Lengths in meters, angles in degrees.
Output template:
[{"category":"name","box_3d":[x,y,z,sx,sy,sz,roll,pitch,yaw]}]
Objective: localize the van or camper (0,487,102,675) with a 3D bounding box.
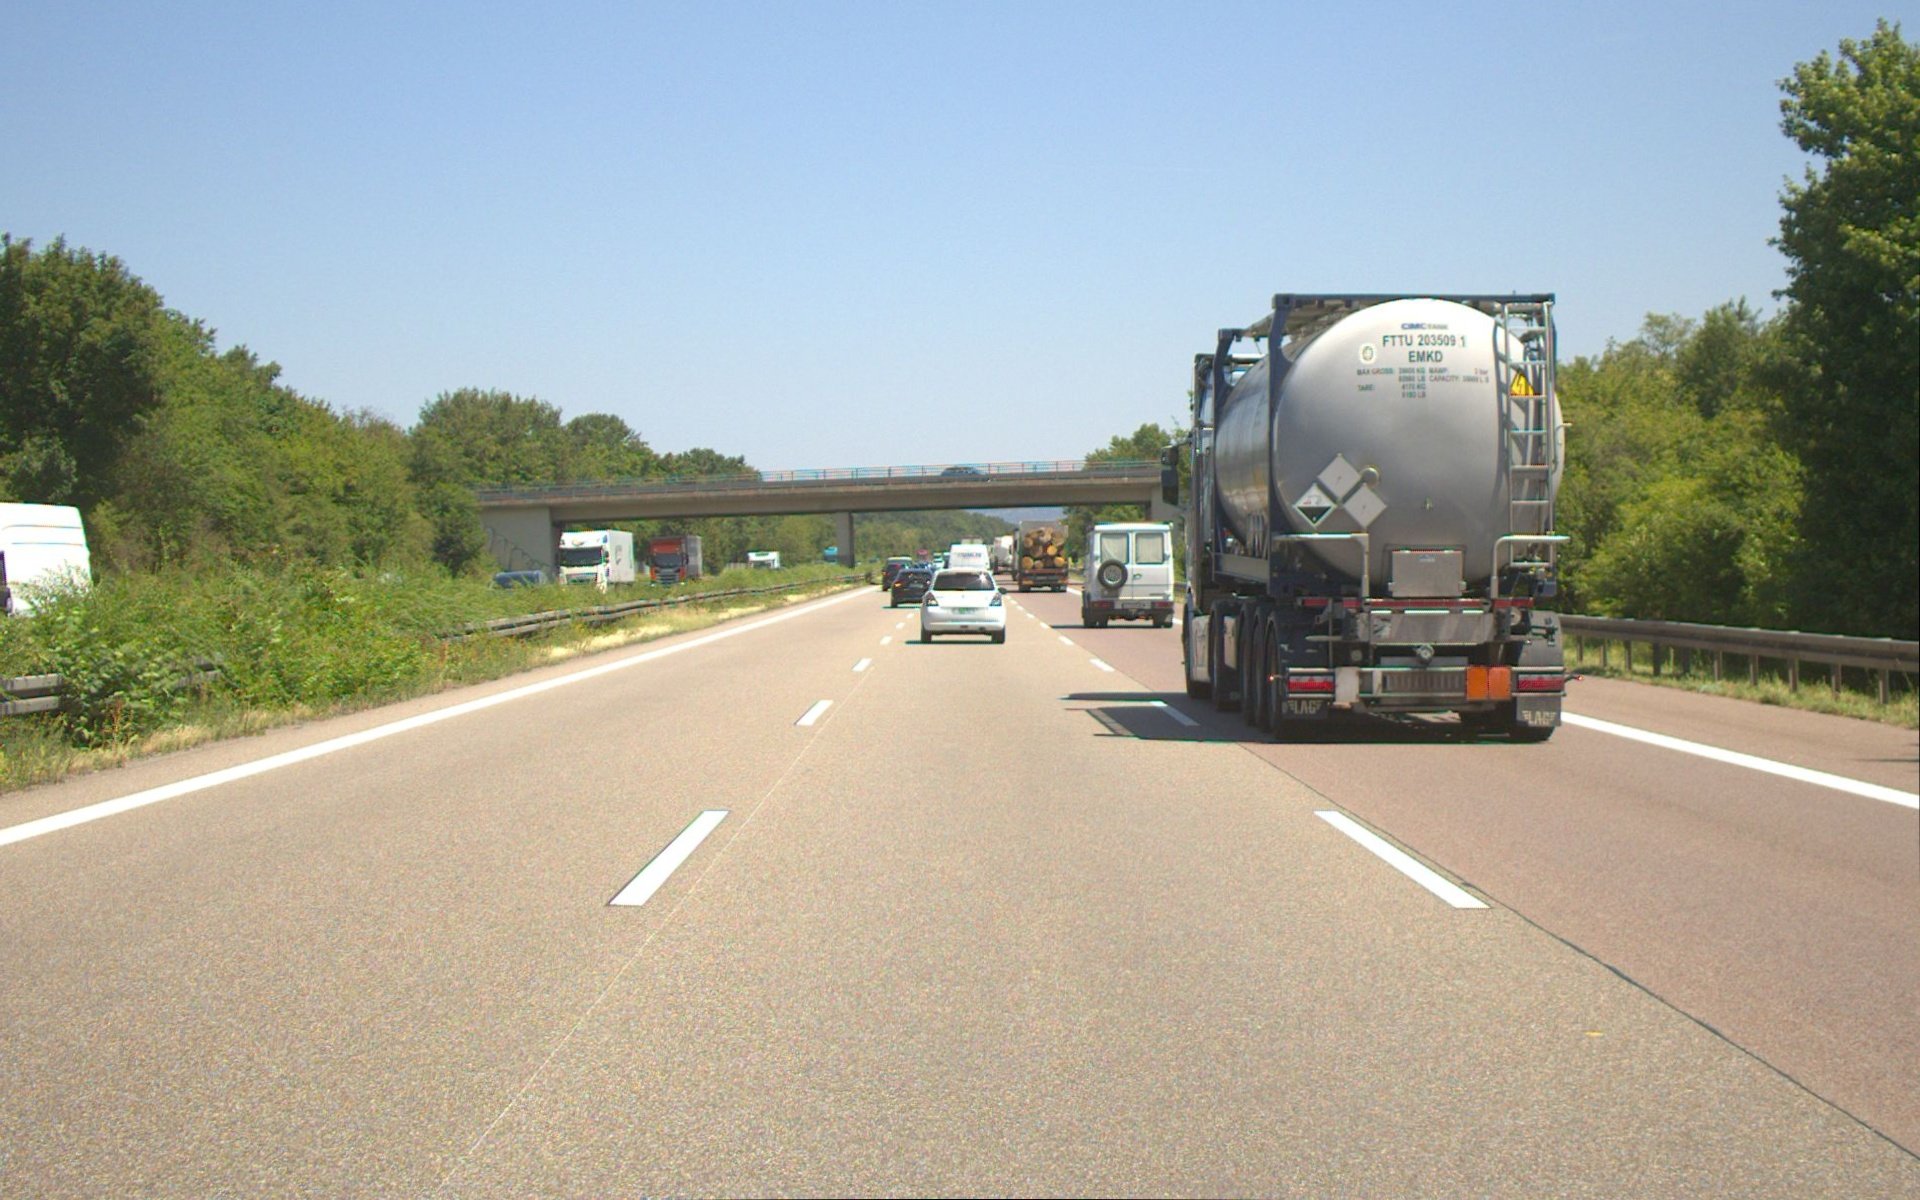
[{"category":"van or camper","box_3d":[-13.256,-0.277,45.185,2.425,2.358,6.337,1,0,-1]}]

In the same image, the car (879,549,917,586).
[{"category":"car","box_3d":[-3.427,-1.806,190.958,2.051,2.007,4.176,1,0,-1]}]

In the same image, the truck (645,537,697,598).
[{"category":"truck","box_3d":[-20.355,-2.268,242.367,3.137,4.217,5.176,1,0,1]}]

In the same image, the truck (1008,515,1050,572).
[{"category":"truck","box_3d":[5.457,-4.344,268.155,3.079,4.195,16.842,1,0,2]}]

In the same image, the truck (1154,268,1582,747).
[{"category":"truck","box_3d":[3.848,-0.841,35.968,2.798,4.032,13.355,1,0,0]}]

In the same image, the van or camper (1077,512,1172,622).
[{"category":"van or camper","box_3d":[4.163,-0.845,88.133,2.113,2.694,6.368,0,0,0]}]

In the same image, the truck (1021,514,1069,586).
[{"category":"truck","box_3d":[4.801,-2.804,194.689,2.670,3.981,6.636,0,1,1]}]

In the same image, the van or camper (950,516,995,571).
[{"category":"van or camper","box_3d":[0.619,-2.711,165.996,2.058,2.613,5.985,0,0,1]}]

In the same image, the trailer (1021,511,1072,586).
[{"category":"trailer","box_3d":[4.656,-2.781,187.423,2.653,3.945,13.636,0,1,1]}]

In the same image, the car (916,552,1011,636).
[{"category":"car","box_3d":[0.057,-0.133,70.330,1.857,1.646,4.000,1,0,-1]}]
